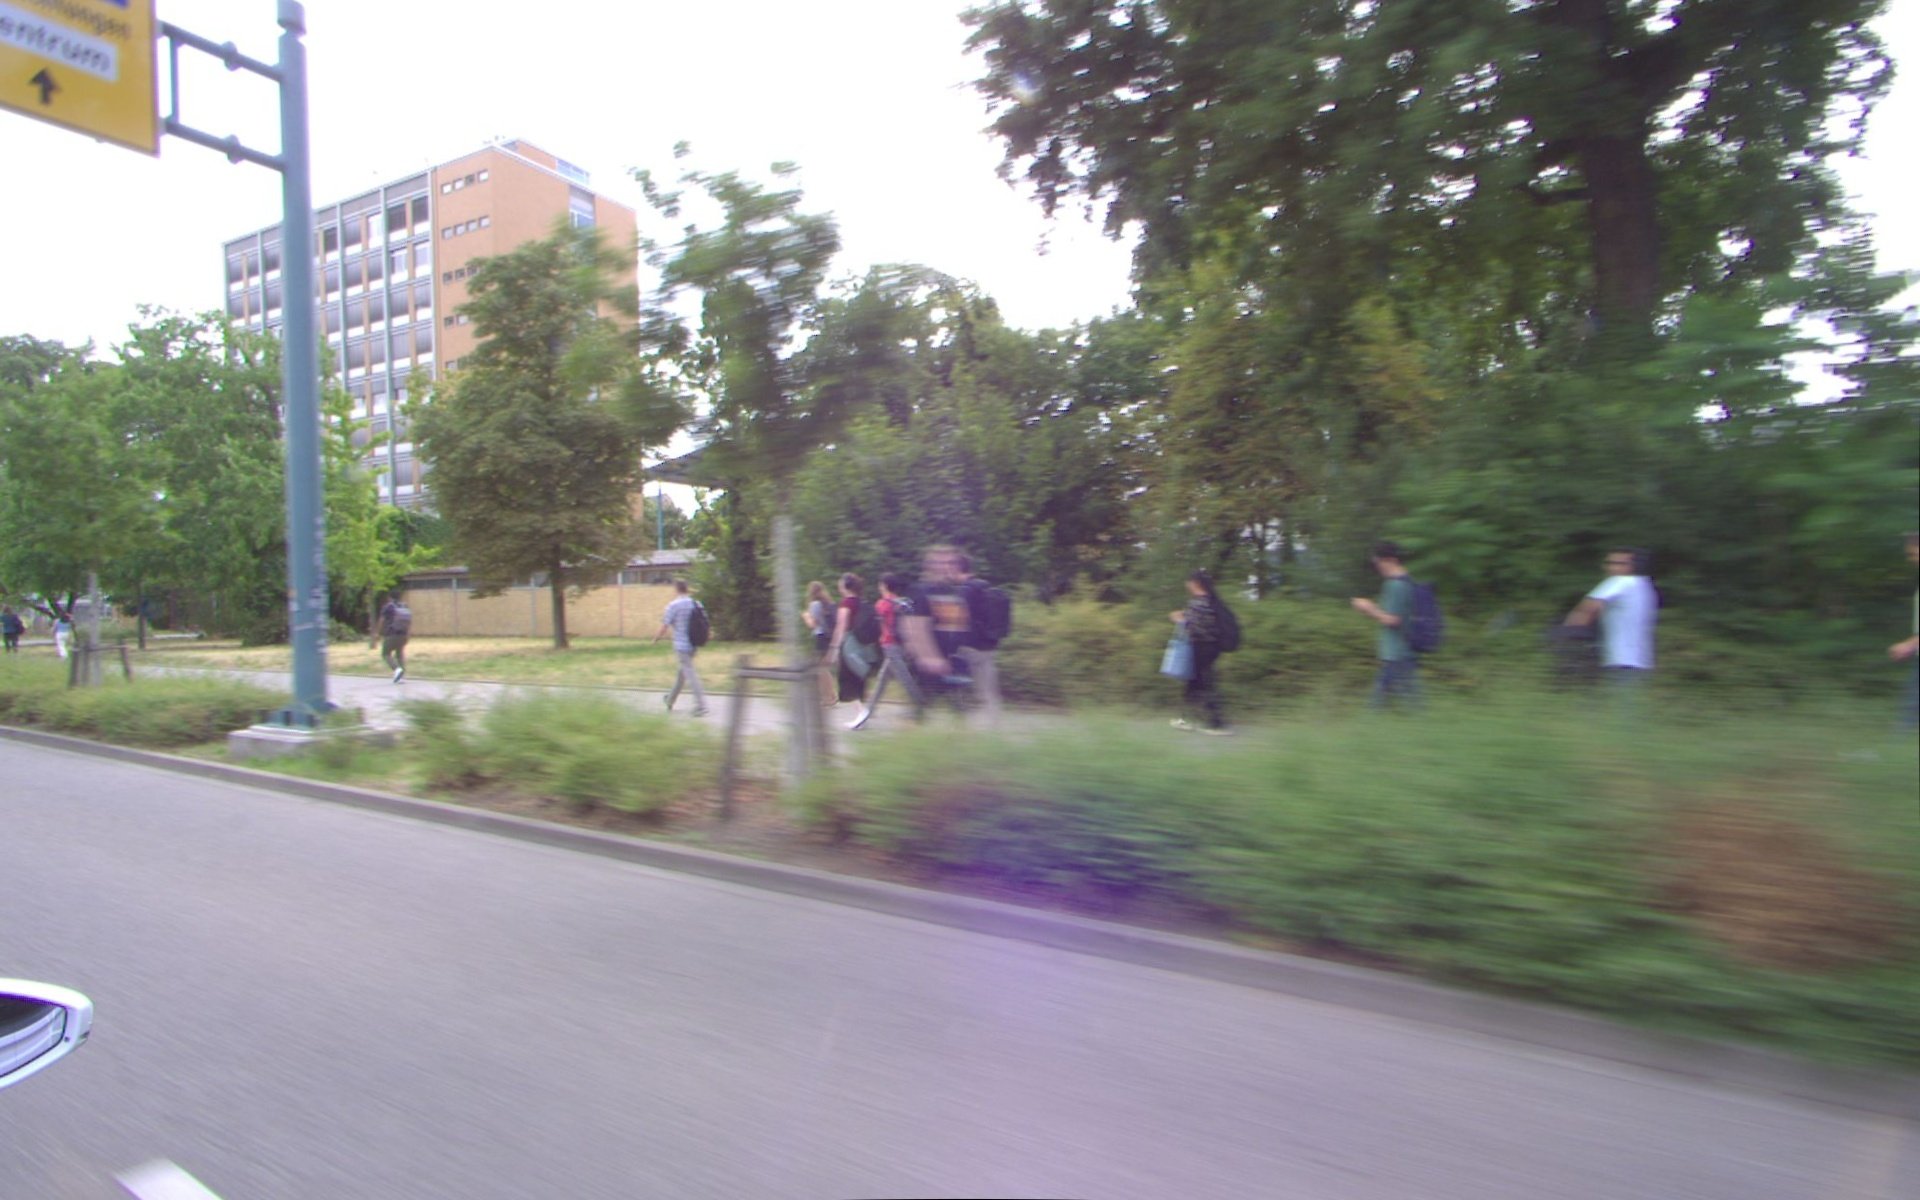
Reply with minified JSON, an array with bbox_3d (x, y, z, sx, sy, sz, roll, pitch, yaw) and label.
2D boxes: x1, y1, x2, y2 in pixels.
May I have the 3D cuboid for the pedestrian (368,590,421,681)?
[{"bbox_3d":[-10.841,0.668,19.204,0.738,1.705,0.586,0,1,34],"label":"pedestrian"}]

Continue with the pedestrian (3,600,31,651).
[{"bbox_3d":[-32.340,0.863,34.339,0.641,1.736,0.556,-1,1,-41],"label":"pedestrian"}]

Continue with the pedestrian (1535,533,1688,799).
[{"bbox_3d":[4.300,0.402,6.633,0.801,1.624,0.773,0,1,34],"label":"pedestrian"}]

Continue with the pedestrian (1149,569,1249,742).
[{"bbox_3d":[2.324,0.516,9.741,0.774,1.605,0.634,0,1,34],"label":"pedestrian"}]

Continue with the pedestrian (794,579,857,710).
[{"bbox_3d":[-1.747,0.565,13.003,0.644,1.655,0.466,0,1,34],"label":"pedestrian"}]

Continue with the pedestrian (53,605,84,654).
[{"bbox_3d":[-27.536,0.892,30.947,0.651,1.490,0.557,-1,1,-39],"label":"pedestrian"}]

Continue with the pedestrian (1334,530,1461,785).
[{"bbox_3d":[3.387,0.420,7.749,0.801,1.846,0.654,0,1,34],"label":"pedestrian"}]

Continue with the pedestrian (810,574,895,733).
[{"bbox_3d":[-1.180,0.565,11.002,0.743,1.677,0.554,0,1,34],"label":"pedestrian"}]

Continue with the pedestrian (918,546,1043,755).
[{"bbox_3d":[0.194,0.449,9.374,0.941,1.846,0.691,0,1,34],"label":"pedestrian"}]

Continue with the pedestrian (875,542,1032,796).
[{"bbox_3d":[-0.061,0.500,7.923,0.923,1.855,0.882,-1,1,-29],"label":"pedestrian"}]

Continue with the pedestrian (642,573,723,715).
[{"bbox_3d":[-3.578,0.546,12.930,0.803,1.759,0.617,0,1,34],"label":"pedestrian"}]

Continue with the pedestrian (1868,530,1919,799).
[{"bbox_3d":[6.725,0.420,6.732,0.801,1.768,0.719,0,1,34],"label":"pedestrian"}]

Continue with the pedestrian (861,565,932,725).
[{"bbox_3d":[-0.733,0.505,11.559,0.655,1.787,0.483,0,1,34],"label":"pedestrian"}]
